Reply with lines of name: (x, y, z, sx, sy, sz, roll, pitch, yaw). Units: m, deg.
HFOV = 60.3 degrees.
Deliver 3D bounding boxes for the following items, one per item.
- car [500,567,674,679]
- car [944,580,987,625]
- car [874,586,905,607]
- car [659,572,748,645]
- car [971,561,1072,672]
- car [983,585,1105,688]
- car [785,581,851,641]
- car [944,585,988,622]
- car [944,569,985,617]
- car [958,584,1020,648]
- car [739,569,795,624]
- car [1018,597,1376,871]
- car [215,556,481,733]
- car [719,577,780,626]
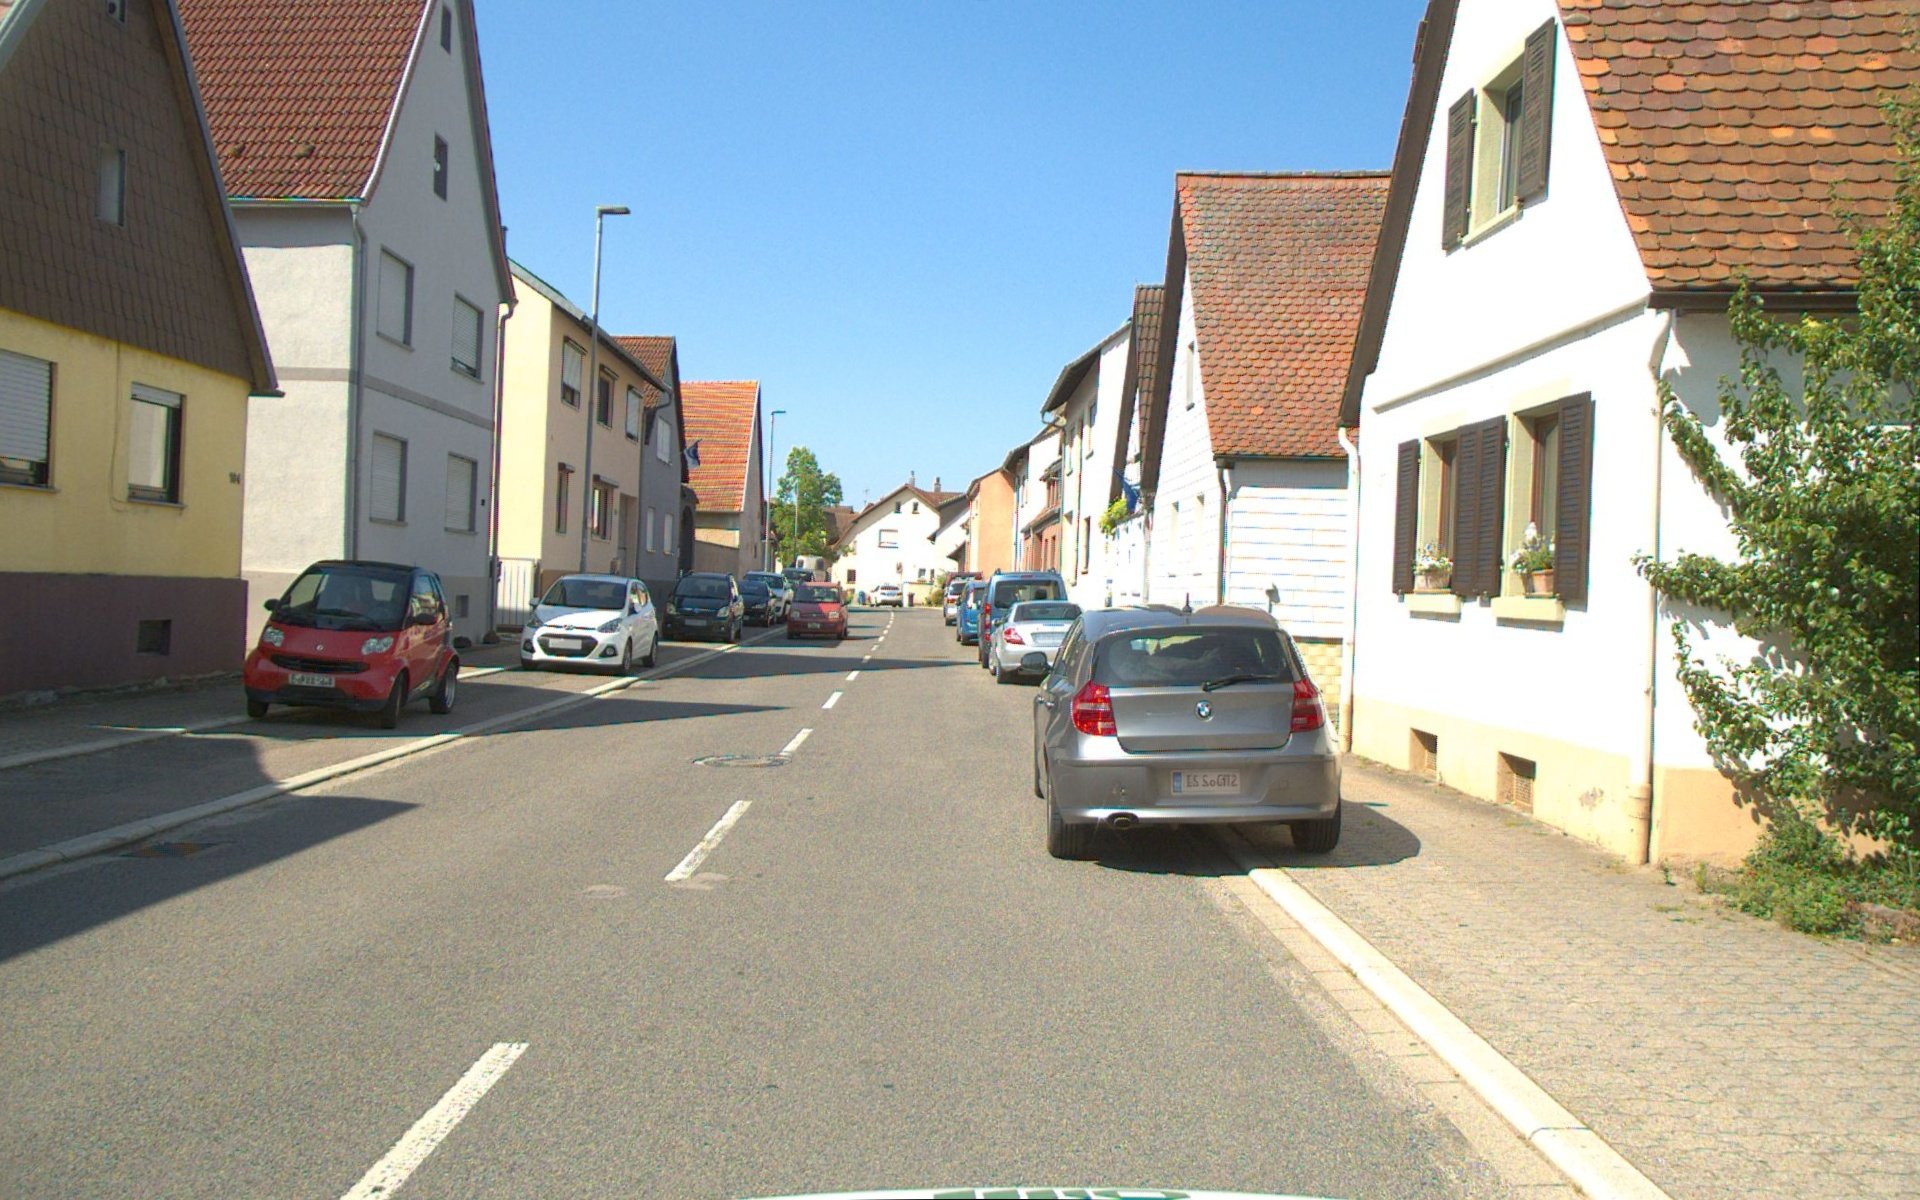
car: (-5.961, 0.347, 26.935, 1.769, 1.574, 4.403, 3, 0, 0)
car: (0.189, 0.095, 60.881, 1.392, 1.541, 3.303, 3, 0, -2)
car: (-4.695, -0.228, 110.675, 1.953, 1.311, 3.999, 2, 0, -1)
car: (-6.209, 0.194, 40.322, 1.586, 1.605, 3.960, 3, 0, -2)
car: (1.146, 0.298, 32.149, 1.616, 1.943, 3.624, 3, 0, -2)
car: (1.325, 0.566, 27.427, 1.670, 1.522, 3.451, 3, 0, -2)
car: (-3.898, 0.287, 45.860, 1.569, 1.515, 3.624, 3, 0, -2)
car: (0.239, 0.145, 68.740, 1.731, 1.458, 3.449, 2, 0, -1)
car: (0.171, -0.292, 74.041, 1.731, 2.039, 3.449, 2, 0, -1)
car: (0.727, 0.395, 43.326, 1.392, 1.541, 3.303, 3, 0, -2)
car: (-6.583, -0.108, 56.619, 1.496, 1.743, 3.624, 3, 0, -2)
car: (1.338, 0.711, 10.778, 1.670, 1.458, 3.888, 0, 0, -2)
car: (-6.116, 0.412, 16.852, 1.521, 1.571, 2.987, 3, 0, 0)
car: (-6.620, 0.055, 52.195, 1.473, 1.478, 3.508, 2, 0, -1)
